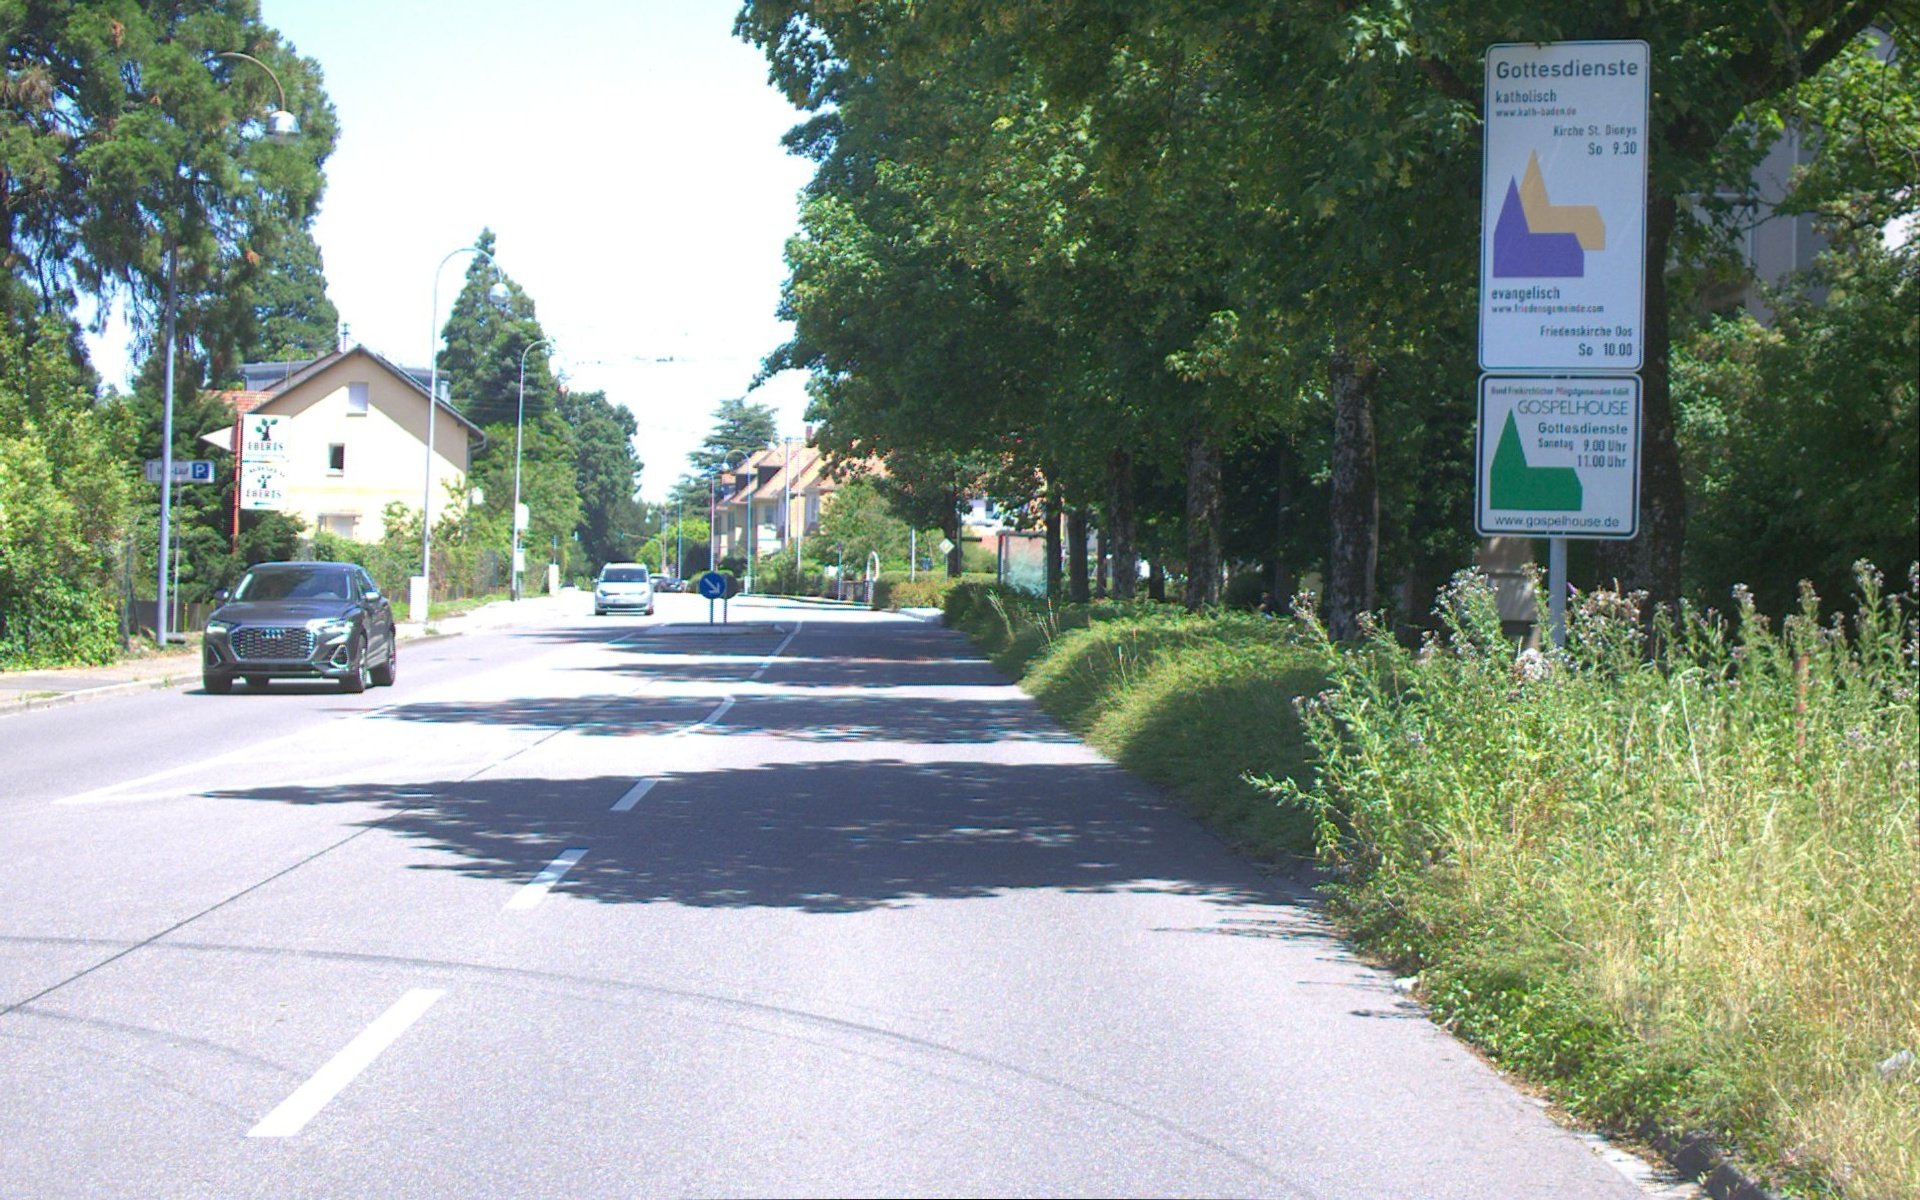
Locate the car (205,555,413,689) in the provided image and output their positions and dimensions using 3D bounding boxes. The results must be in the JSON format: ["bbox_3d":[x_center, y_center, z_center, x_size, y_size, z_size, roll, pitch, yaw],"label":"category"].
[{"bbox_3d":[-7.859,0.224,41.855,1.793,1.531,4.315,1,1,-1],"label":"car"}]

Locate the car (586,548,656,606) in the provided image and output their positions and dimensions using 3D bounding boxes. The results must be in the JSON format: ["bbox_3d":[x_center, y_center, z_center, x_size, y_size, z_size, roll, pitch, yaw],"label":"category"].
[{"bbox_3d":[-10.665,-0.750,108.362,1.912,1.683,4.126,0,2,-2],"label":"car"}]

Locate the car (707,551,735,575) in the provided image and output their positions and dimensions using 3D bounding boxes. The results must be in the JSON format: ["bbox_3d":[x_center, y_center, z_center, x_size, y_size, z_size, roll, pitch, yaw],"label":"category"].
[{"bbox_3d":[-17.264,-2.658,248.359,1.815,1.712,4.000,1,1,-1],"label":"car"}]

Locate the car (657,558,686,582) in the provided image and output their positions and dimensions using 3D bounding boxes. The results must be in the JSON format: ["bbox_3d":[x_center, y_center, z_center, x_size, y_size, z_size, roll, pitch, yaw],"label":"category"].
[{"bbox_3d":[-20.825,-2.190,248.348,1.815,1.712,4.000,1,1,-1],"label":"car"}]

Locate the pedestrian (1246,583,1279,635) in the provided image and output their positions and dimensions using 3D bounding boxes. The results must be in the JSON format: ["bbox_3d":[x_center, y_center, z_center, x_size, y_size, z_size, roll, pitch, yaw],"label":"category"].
[{"bbox_3d":[6.981,0.204,79.249,0.704,1.156,0.754,1,1,2],"label":"pedestrian"}]
